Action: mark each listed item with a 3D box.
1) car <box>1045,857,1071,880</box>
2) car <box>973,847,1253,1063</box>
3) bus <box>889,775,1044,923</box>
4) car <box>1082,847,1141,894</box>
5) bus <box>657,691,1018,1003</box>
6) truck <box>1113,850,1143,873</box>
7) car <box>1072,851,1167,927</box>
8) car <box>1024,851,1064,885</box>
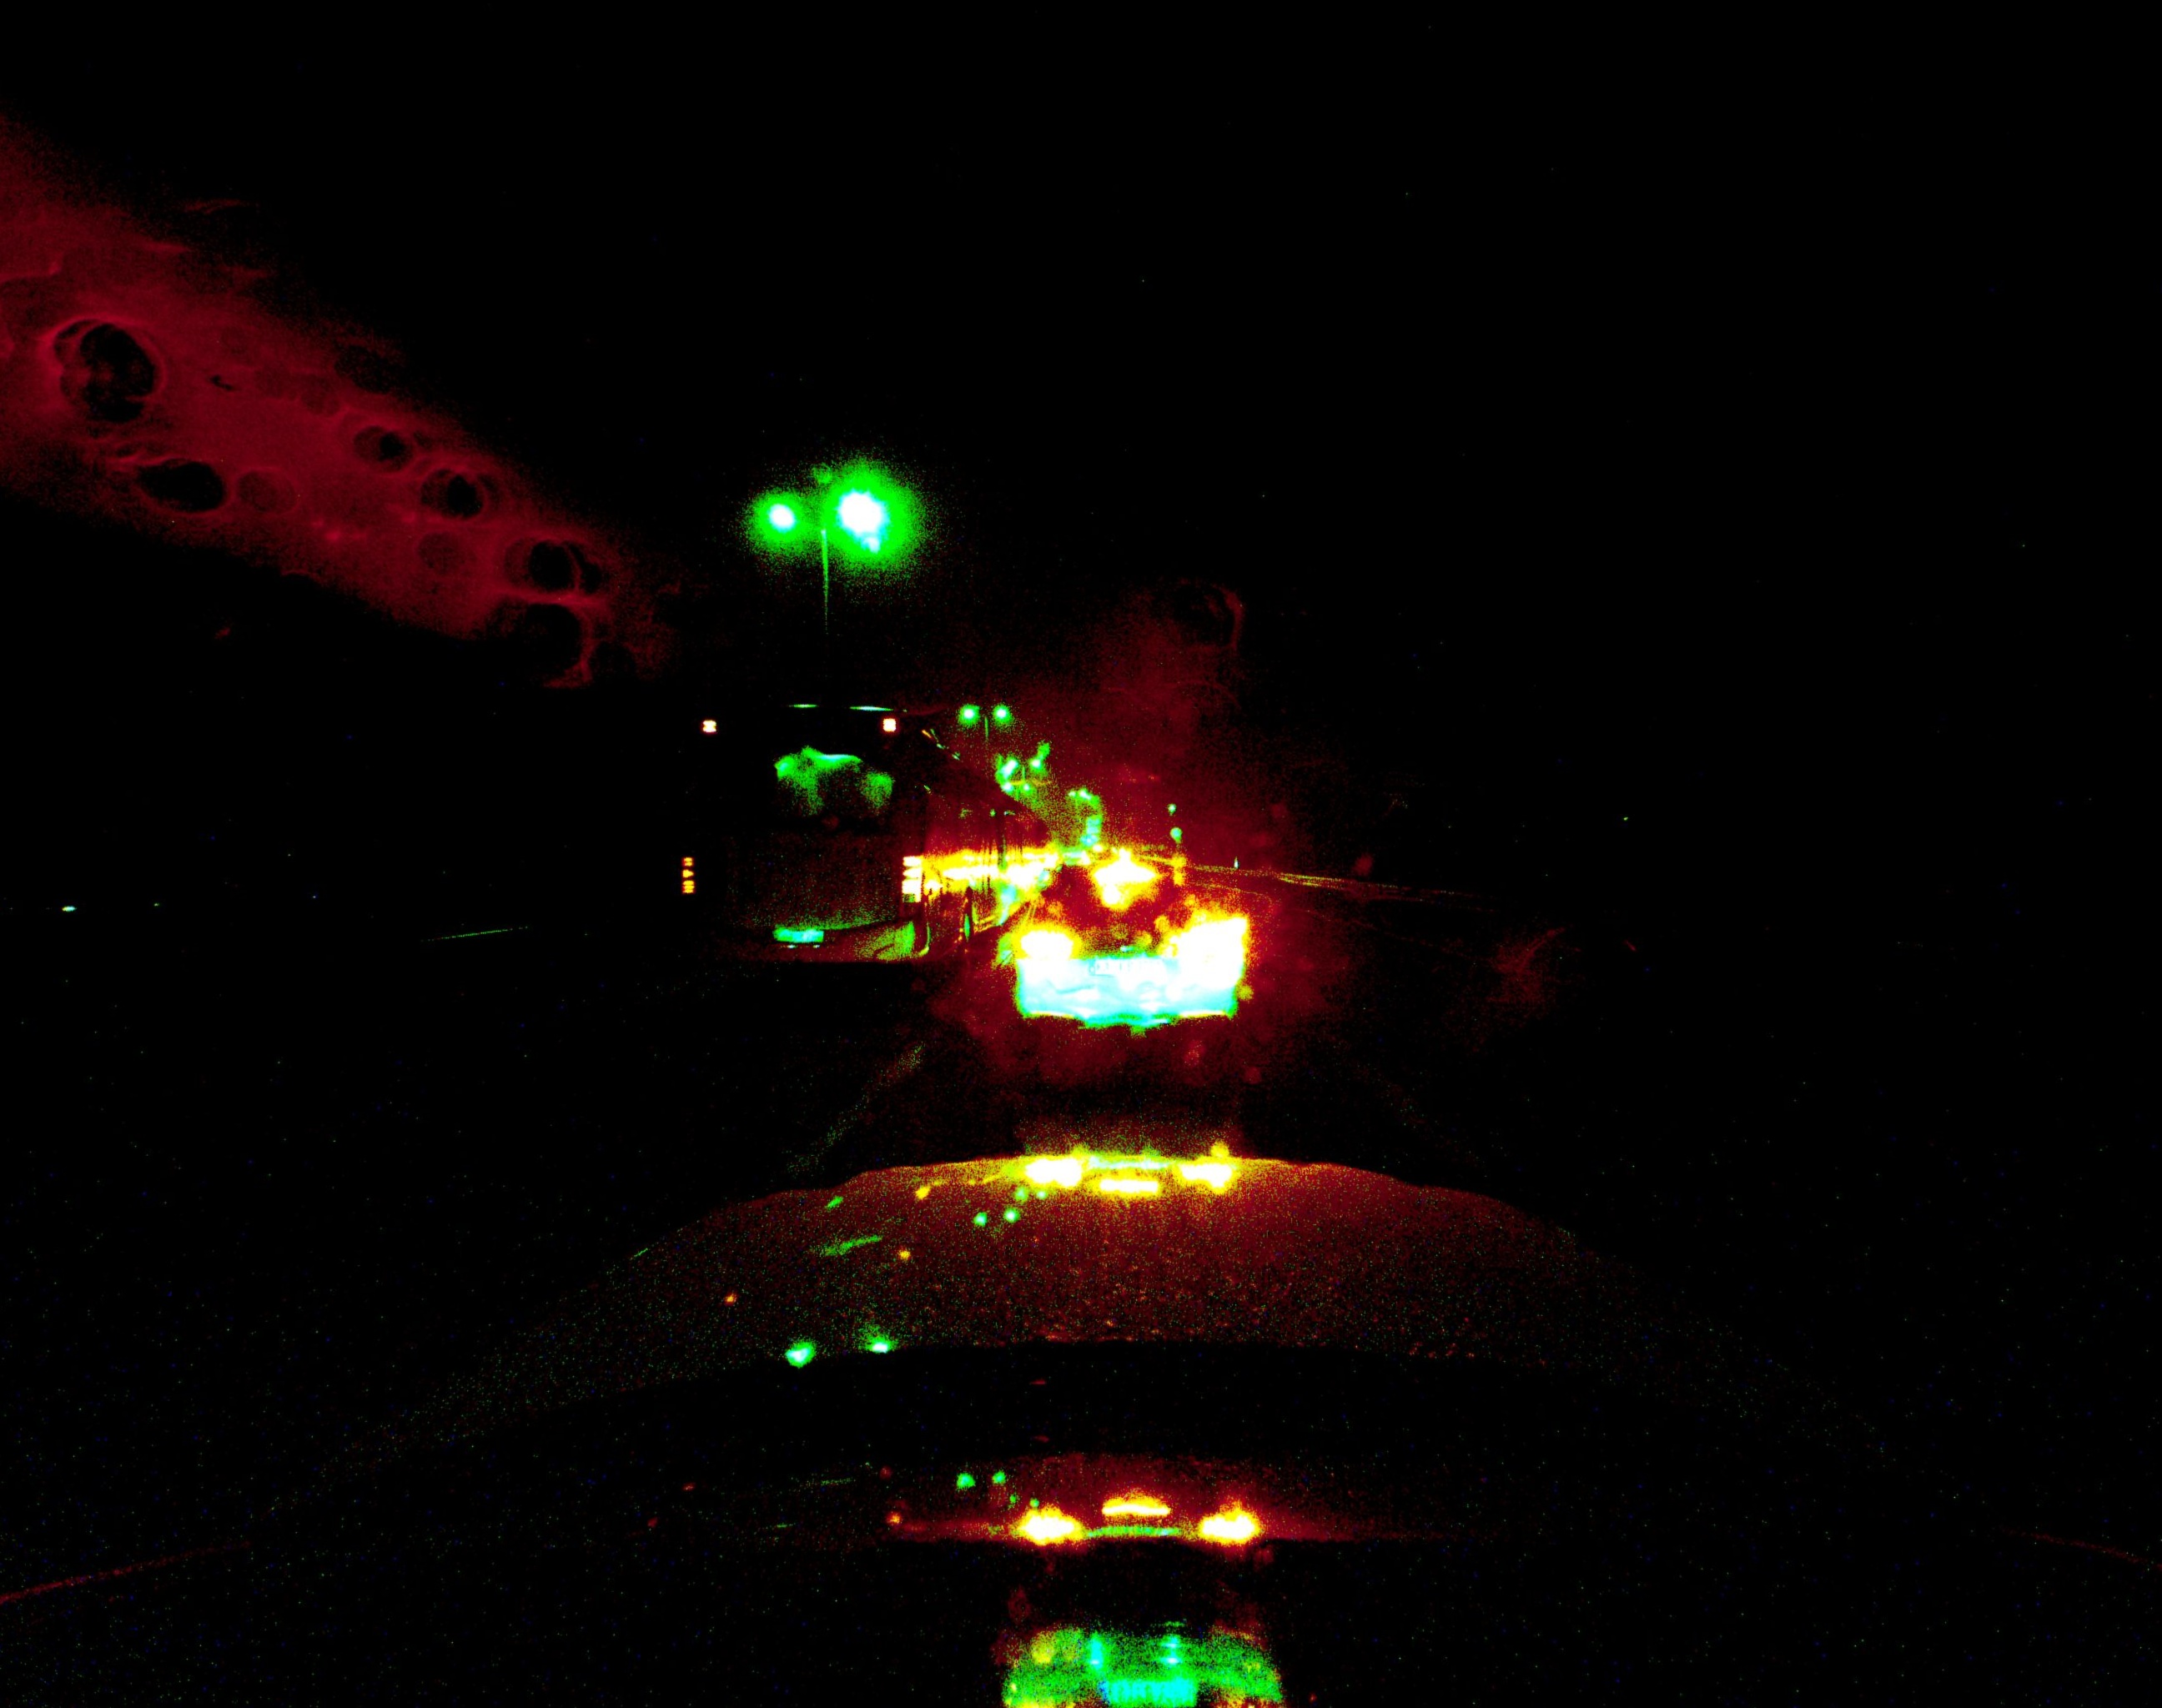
[{"bbox_3d":[-1.509,0.953,54.789,1.552,1.487,3.810,0,-1,2],"label":"car"},{"bbox_3d":[0.350,0.720,7.553,1.935,1.491,3.720,-1,0,4],"label":"car"},{"bbox_3d":[-2.641,-0.135,21.731,2.734,3.123,8.705,1,0,1],"label":"bus"},{"bbox_3d":[1.007,0.518,27.333,1.815,1.461,3.717,-1,0,2],"label":"car"},{"bbox_3d":[-2.809,-0.103,12.817,2.734,3.123,9.203,1,0,1],"label":"bus"},{"bbox_3d":[5.535,0.880,94.672,3.053,2.528,7.180,0,-1,7],"label":"truck"},{"bbox_3d":[0.809,0.695,17.689,1.815,1.461,3.717,-1,0,2],"label":"car"},{"bbox_3d":[-1.667,0.641,37.972,1.552,1.487,3.810,0,-1,2],"label":"car"}]
